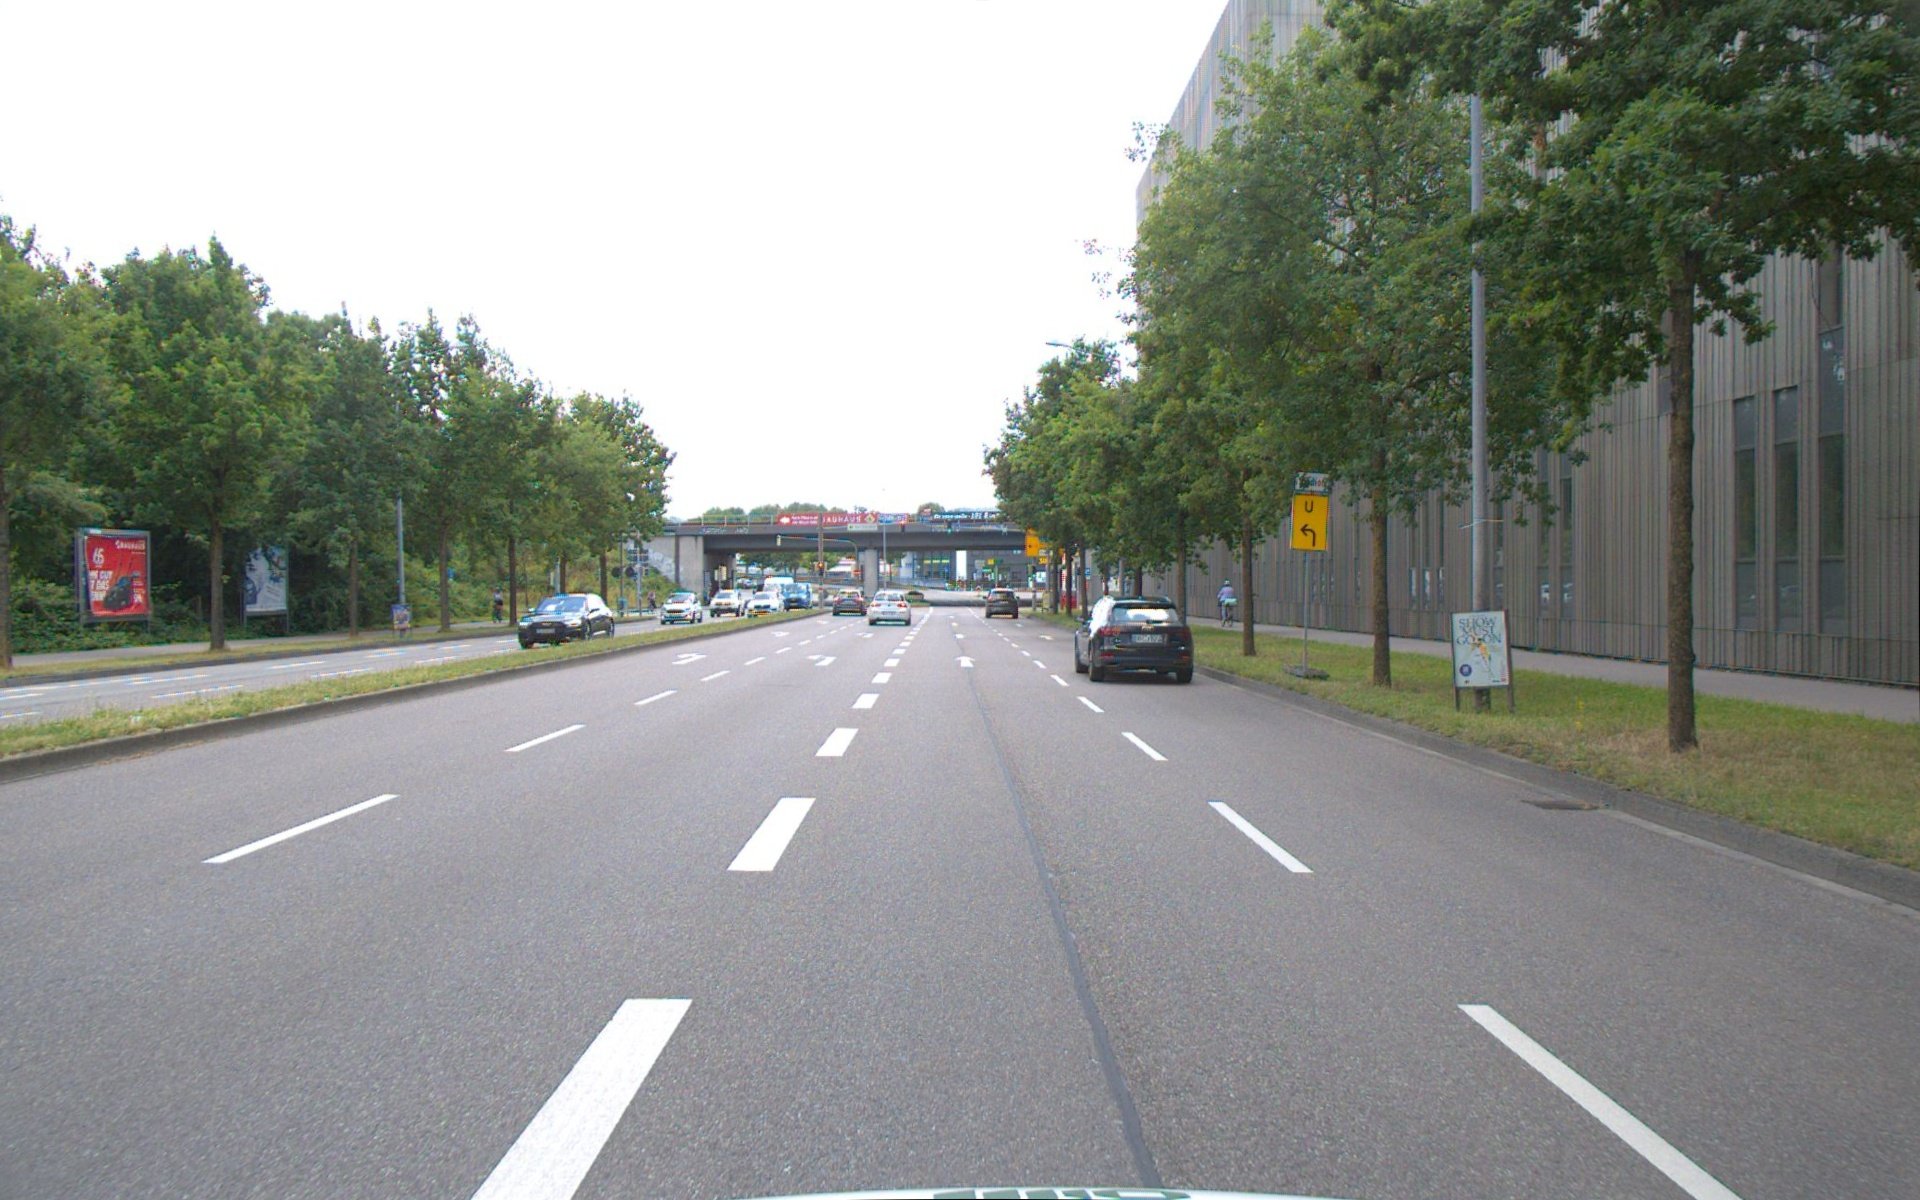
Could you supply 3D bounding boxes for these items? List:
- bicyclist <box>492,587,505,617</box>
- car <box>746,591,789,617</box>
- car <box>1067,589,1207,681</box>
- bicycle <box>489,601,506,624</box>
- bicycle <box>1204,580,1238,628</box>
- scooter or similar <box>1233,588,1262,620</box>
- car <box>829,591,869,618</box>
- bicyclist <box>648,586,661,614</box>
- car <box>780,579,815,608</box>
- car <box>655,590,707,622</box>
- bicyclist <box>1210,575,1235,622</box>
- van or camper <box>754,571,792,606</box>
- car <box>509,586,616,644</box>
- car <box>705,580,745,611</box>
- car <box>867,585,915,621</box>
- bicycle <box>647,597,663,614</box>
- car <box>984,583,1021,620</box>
[{"bbox_3d":[-23.174,0.097,83.024,0.484,1.490,0.712,1,0,-7],"label":"bicyclist"},{"bbox_3d":[-11.249,0.214,96.828,1.953,1.456,5.024,-1,0,0],"label":"car"},{"bbox_3d":[3.061,0.563,29.574,1.953,1.414,4.575,1,1,-1],"label":"car"},{"bbox_3d":[-23.198,0.619,82.974,0.499,1.126,1.842,1,0,-5],"label":"bicycle"},{"bbox_3d":[10.086,0.144,64.005,0.705,1.805,2.531,-1,0,-4],"label":"bicycle"},{"bbox_3d":[11.580,0.142,66.603,0.690,1.268,2.479,-2,0,0],"label":"scooter or similar"},{"bbox_3d":[-6.224,0.248,93.375,1.953,1.440,4.831,1,1,-1],"label":"car"},{"bbox_3d":[-22.157,-0.010,119.919,0.740,2.049,0.840,1,0,4],"label":"bicyclist"},{"bbox_3d":[-11.548,-0.486,117.949,2.146,1.998,5.192,-1,1,-2],"label":"car"},{"bbox_3d":[-14.063,0.287,83.546,1.876,1.468,4.414,-3,0,-1],"label":"car"},{"bbox_3d":[10.104,-0.059,63.659,0.701,1.800,0.988,-1,0,-4],"label":"bicyclist"},{"bbox_3d":[-14.532,-0.906,128.735,2.304,2.584,7.062,0,0,-2],"label":"van or camper"},{"bbox_3d":[-11.232,0.385,47.055,1.919,1.543,4.909,-1,0,-1],"label":"car"},{"bbox_3d":[-14.604,-0.280,102.888,1.953,1.832,4.408,-1,1,-2],"label":"car"},{"bbox_3d":[-2.950,0.105,71.339,1.876,1.439,4.295,2,1,-1],"label":"car"},{"bbox_3d":[-22.134,0.400,119.921,0.655,1.266,2.042,1,0,4],"label":"bicycle"},{"bbox_3d":[2.388,0.070,94.656,1.953,2.073,4.712,-1,0,0],"label":"car"}]
